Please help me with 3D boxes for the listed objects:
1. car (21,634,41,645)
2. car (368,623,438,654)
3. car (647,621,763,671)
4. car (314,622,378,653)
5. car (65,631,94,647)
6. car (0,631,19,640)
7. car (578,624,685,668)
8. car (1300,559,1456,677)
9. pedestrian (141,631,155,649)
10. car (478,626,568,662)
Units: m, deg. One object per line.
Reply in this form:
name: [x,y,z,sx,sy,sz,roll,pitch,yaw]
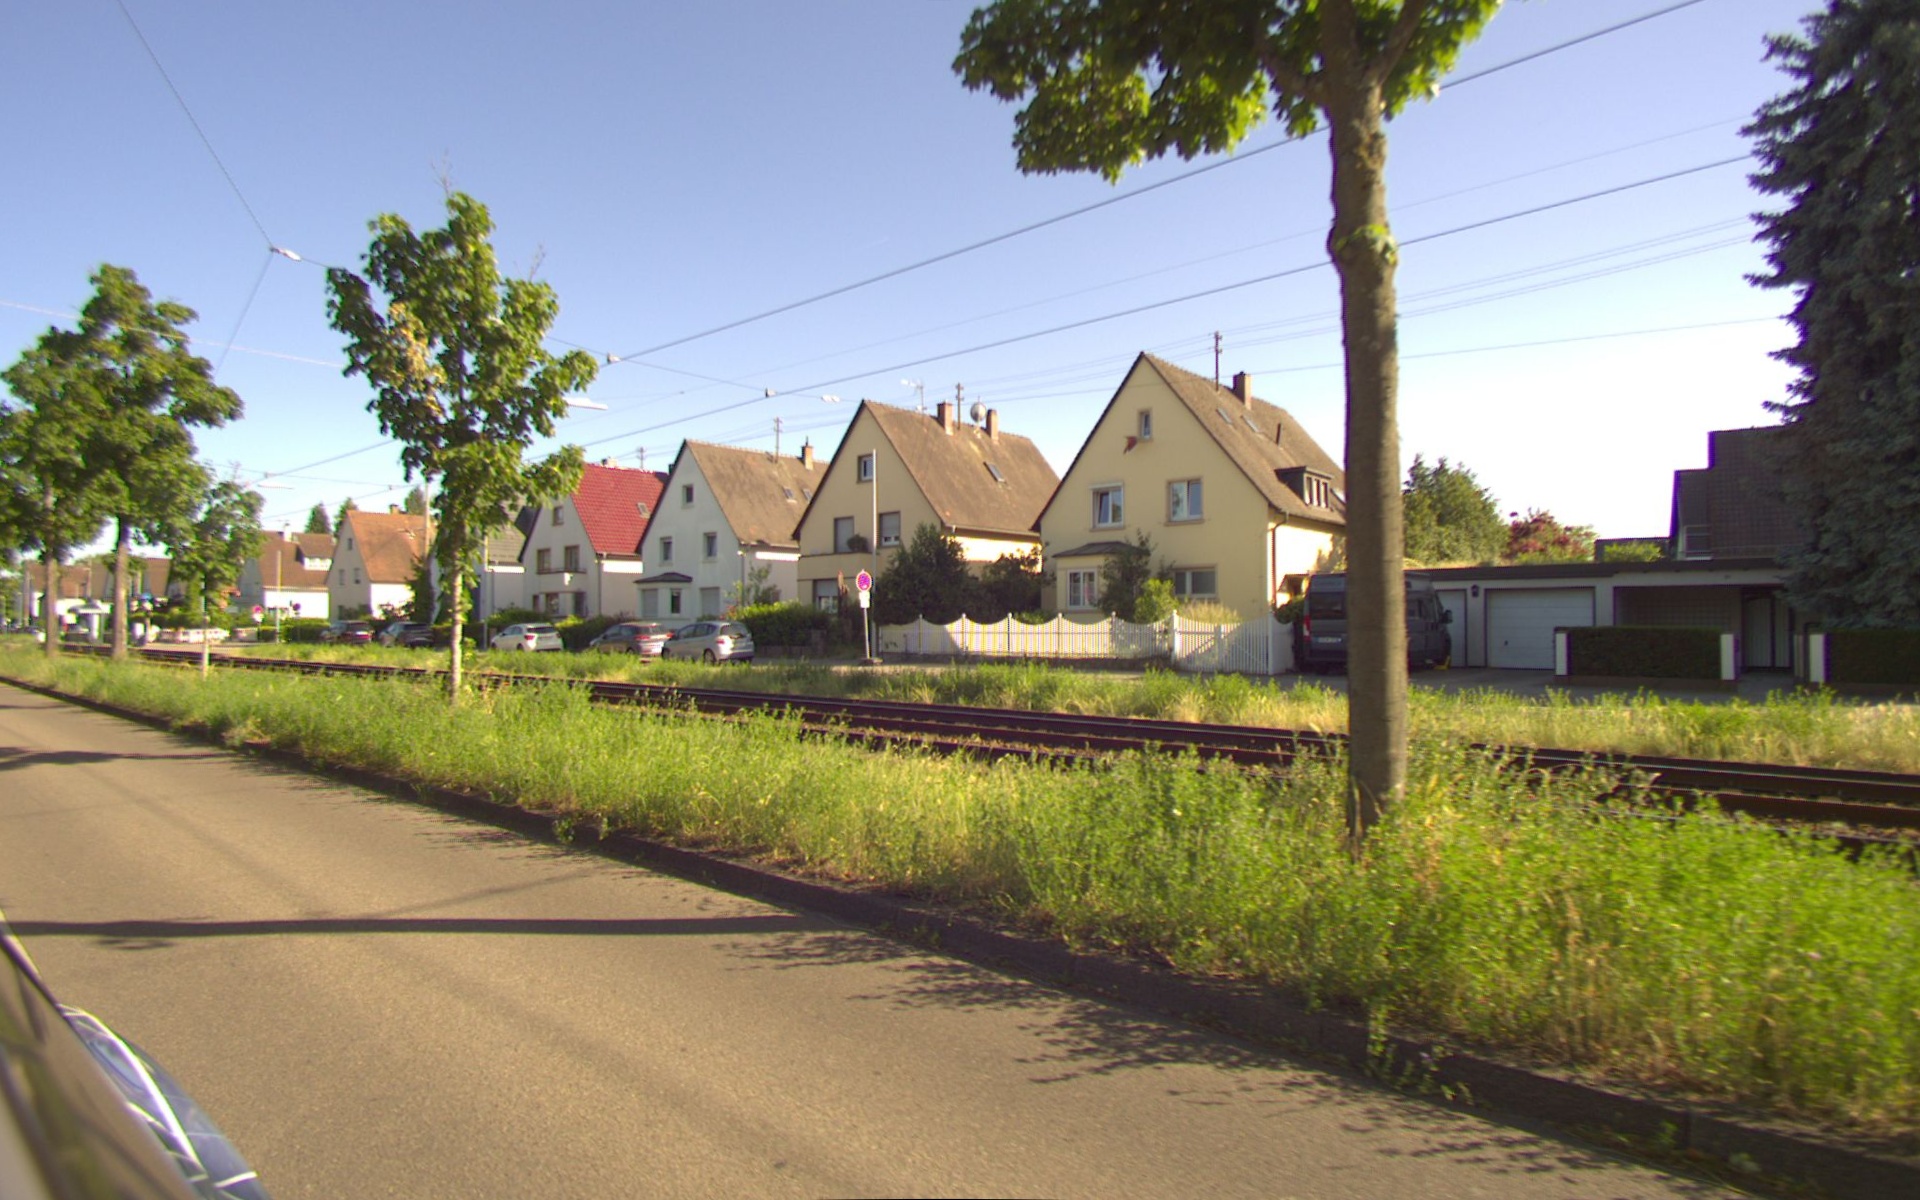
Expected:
car: [-132.478,5.628,144.280,3.754,1.501,1.716,-1,0,41]
car: [-29.470,2.023,53.525,4.254,1.506,1.906,-1,0,41]
car: [-8.864,1.555,35.024,4.054,1.565,1.926,-1,0,41]
car: [-36.017,2.180,59.322,4.388,1.726,1.973,-1,0,41]
car: [-103.372,4.540,118.770,4.837,1.691,1.973,-1,0,41]
car: [-145.459,5.400,154.883,3.822,1.392,1.733,-1,0,41]
car: [-12.426,1.699,38.151,4.126,1.460,1.973,-1,2,41]
car: [10.600,0.463,25.446,2.101,2.645,4.976,-3,-2,41]
pedestrian: [-71.804,3.540,89.492,0.791,1.546,0.805,-3,-3,30]
car: [-19.088,1.879,44.133,4.409,1.437,1.972,-1,0,42]
